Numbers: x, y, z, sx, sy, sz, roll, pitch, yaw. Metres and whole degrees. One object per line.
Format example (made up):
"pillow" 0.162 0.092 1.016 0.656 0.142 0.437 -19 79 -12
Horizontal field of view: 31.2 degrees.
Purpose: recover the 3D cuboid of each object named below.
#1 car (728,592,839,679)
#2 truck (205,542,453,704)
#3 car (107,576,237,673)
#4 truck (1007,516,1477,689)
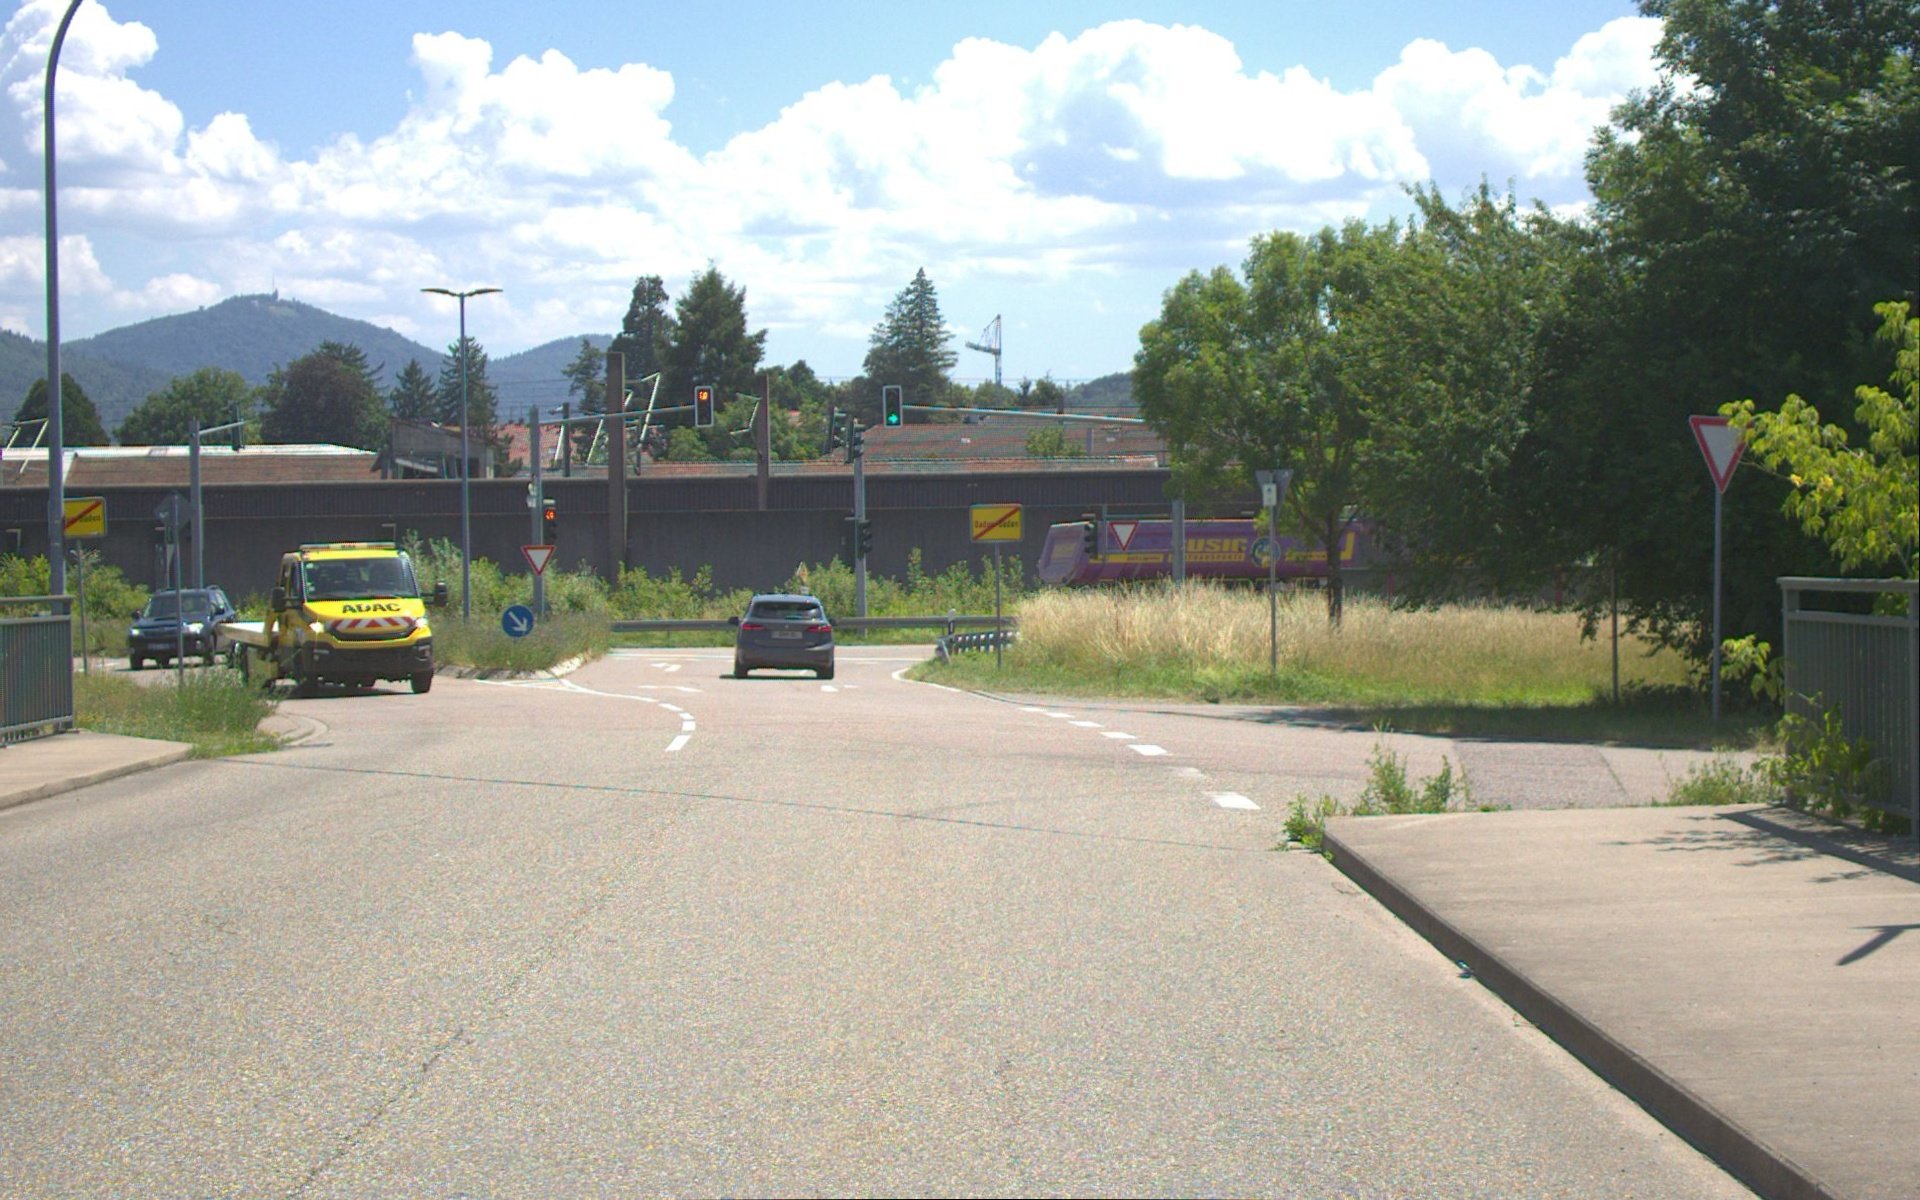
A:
"car" -3.272 0.636 64.322 1.993 1.498 4.000 1 1 -2
"truck" -10.349 0.403 55.646 2.310 2.330 9.053 -2 0 -21
"car" -16.832 0.487 73.593 1.902 1.696 4.001 -5 3 -3
"truck" 7.182 0.084 86.716 11.766 4.166 3.006 0 0 -23
